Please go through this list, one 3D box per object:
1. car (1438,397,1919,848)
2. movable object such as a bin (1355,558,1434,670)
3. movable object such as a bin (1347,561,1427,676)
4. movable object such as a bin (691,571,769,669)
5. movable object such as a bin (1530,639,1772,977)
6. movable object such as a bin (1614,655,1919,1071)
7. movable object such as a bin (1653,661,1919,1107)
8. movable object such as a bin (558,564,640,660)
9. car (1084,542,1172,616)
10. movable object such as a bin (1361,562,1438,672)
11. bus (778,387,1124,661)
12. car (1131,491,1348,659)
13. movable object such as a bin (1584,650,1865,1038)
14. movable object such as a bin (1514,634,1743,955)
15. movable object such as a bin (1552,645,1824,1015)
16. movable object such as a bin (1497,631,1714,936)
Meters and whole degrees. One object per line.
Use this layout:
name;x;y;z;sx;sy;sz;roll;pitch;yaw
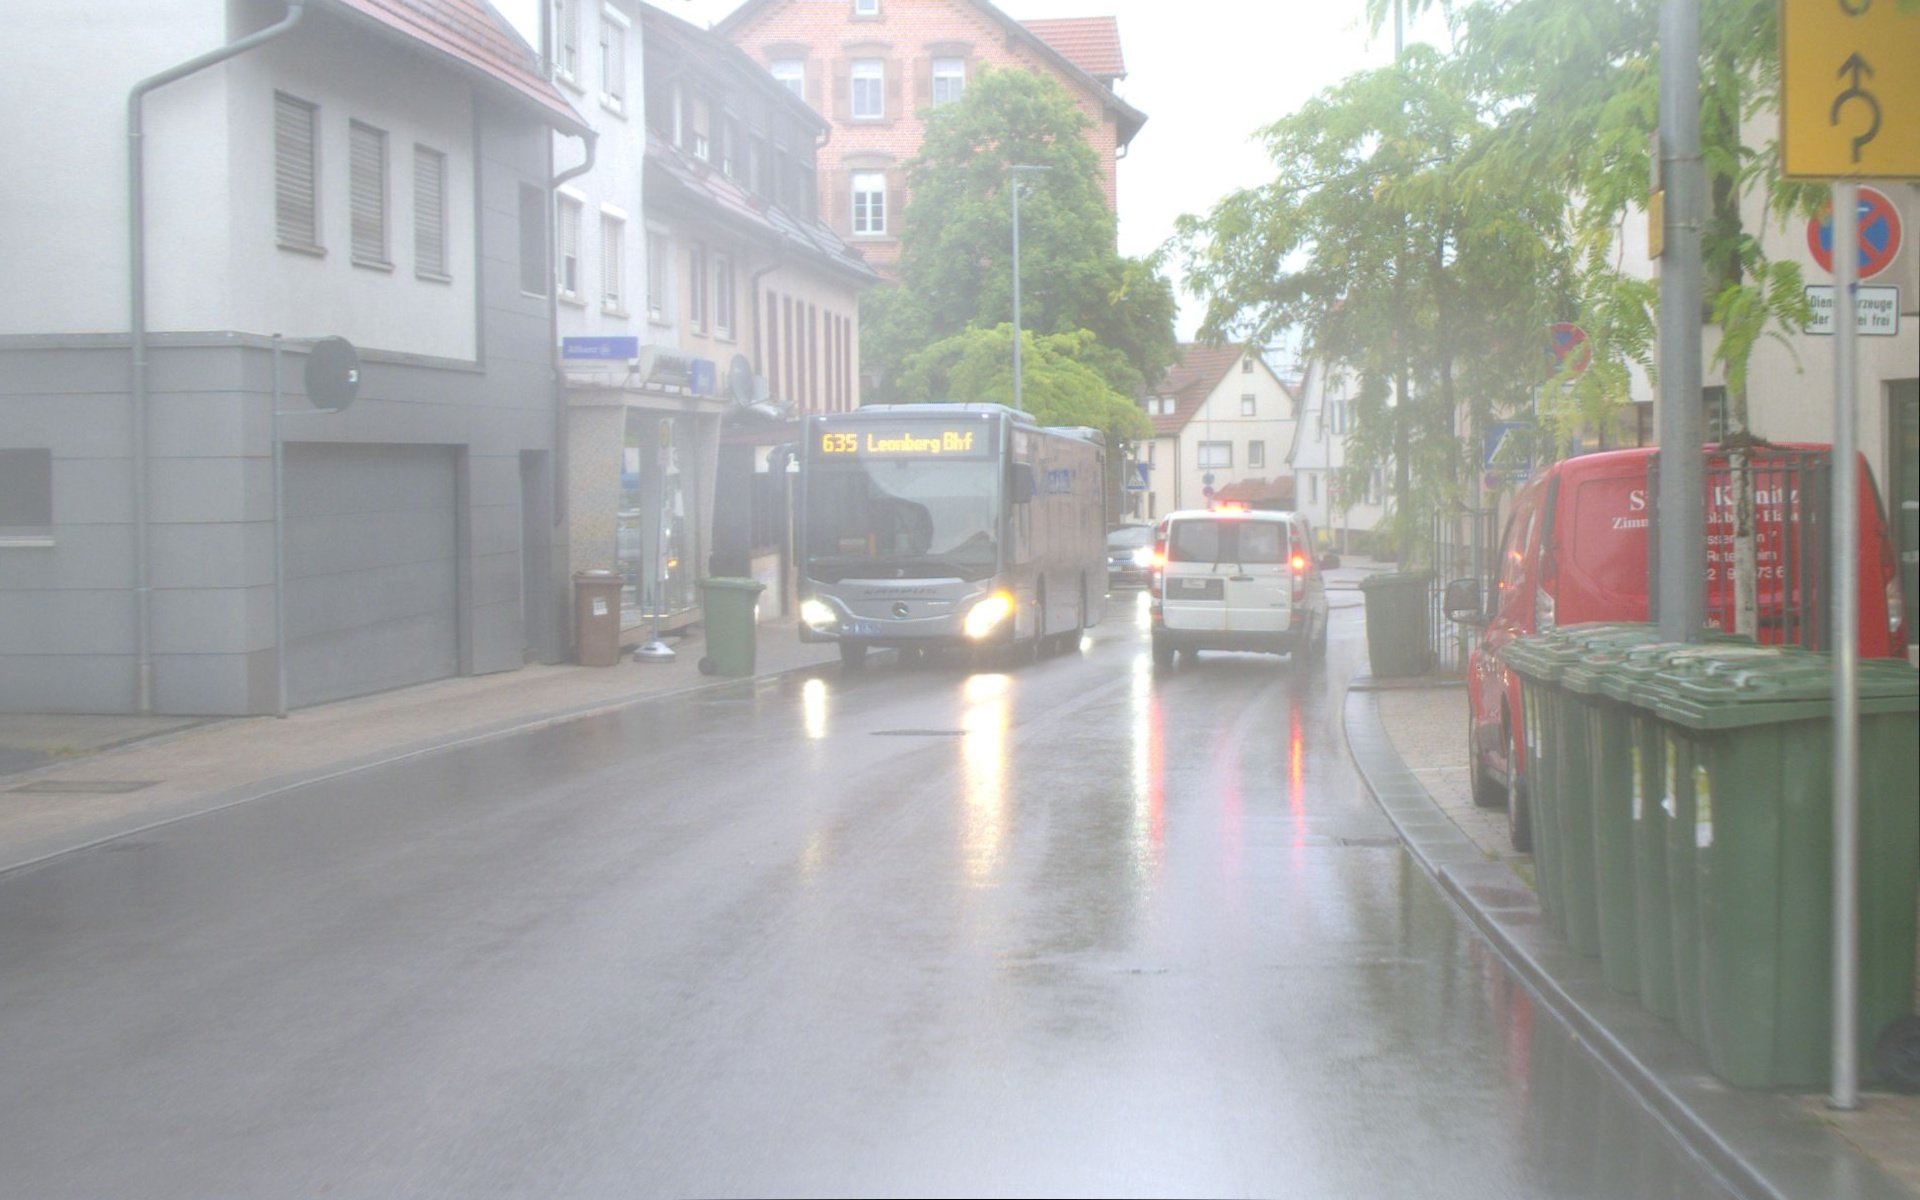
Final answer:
car;3.457;0.083;17.160;1.836;1.900;4.603;-2;0;5
movable object such as a bin;4.602;0.148;36.390;0.752;1.167;0.630;-1;0;12
movable object such as a bin;4.425;0.189;35.573;0.752;1.167;0.630;-1;0;12
movable object such as a bin;-2.528;0.212;37.795;0.741;1.056;0.726;1;1;5
movable object such as a bin;2.318;0.687;11.581;0.709;1.084;0.601;-1;1;3
movable object such as a bin;2.221;0.709;9.500;0.709;1.084;0.601;-1;1;1
movable object such as a bin;2.210;0.715;8.887;0.709;1.084;0.601;-1;1;1
movable object such as a bin;-4.099;0.131;39.022;0.793;1.056;0.701;1;1;5
car;3.736;-0.487;75.934;1.786;1.502;4.468;0;2;5
movable object such as a bin;4.740;0.176;37.035;0.752;1.167;0.630;-1;0;12
bus;0.144;-0.988;44.308;2.724;3.069;10.943;1;1;9
car;3.315;-0.314;41.733;2.152;1.892;4.925;1;1;-1
movable object such as a bin;2.229;0.701;10.070;0.702;1.084;0.516;-1;1;1
movable object such as a bin;2.358;0.677;12.182;0.709;1.084;0.601;-1;1;3
movable object such as a bin;2.241;0.696;10.641;0.709;1.084;0.601;-1;1;1
movable object such as a bin;2.391;0.670;12.795;0.709;1.084;0.601;-1;1;3
